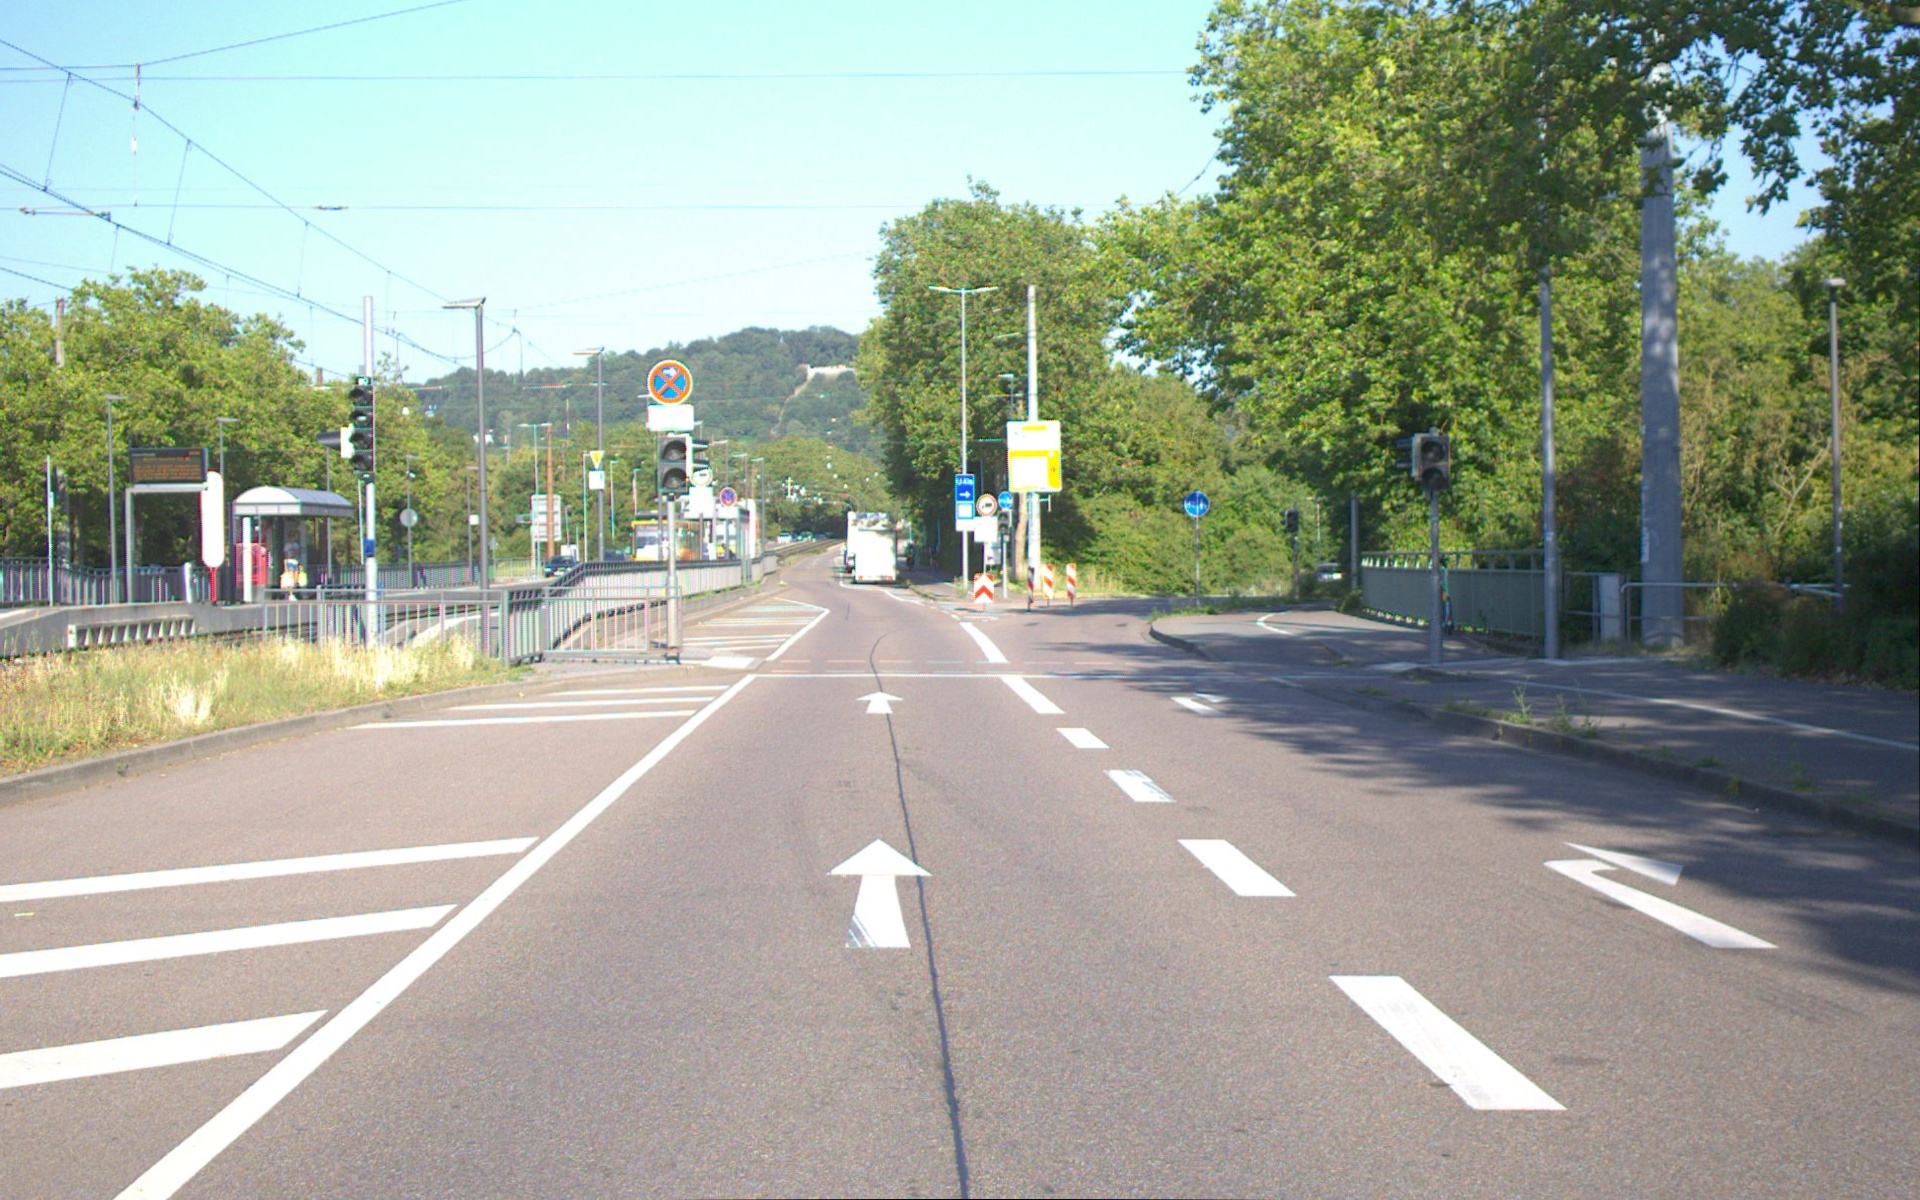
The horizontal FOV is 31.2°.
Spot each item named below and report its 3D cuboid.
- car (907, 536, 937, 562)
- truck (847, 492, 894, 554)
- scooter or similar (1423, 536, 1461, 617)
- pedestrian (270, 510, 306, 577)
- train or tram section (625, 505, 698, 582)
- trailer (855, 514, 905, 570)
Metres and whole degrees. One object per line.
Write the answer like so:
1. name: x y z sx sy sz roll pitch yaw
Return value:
1. car: -2.132 -2.857 192.084 1.653 1.432 3.777 0 1 0
2. truck: -5.704 -4.845 216.968 2.741 3.770 10.091 1 1 -2
3. scooter or similar: 7.696 -0.379 54.890 0.426 1.270 1.083 -1 1 -1
4. pedestrian: -17.545 -1.472 89.767 0.700 1.751 0.587 1 1 35
5. train or tram section: -16.157 -3.086 187.014 2.827 3.992 15.876 1 1 -1
6. trailer: -3.925 -2.873 169.378 2.251 2.685 5.947 0 1 1
